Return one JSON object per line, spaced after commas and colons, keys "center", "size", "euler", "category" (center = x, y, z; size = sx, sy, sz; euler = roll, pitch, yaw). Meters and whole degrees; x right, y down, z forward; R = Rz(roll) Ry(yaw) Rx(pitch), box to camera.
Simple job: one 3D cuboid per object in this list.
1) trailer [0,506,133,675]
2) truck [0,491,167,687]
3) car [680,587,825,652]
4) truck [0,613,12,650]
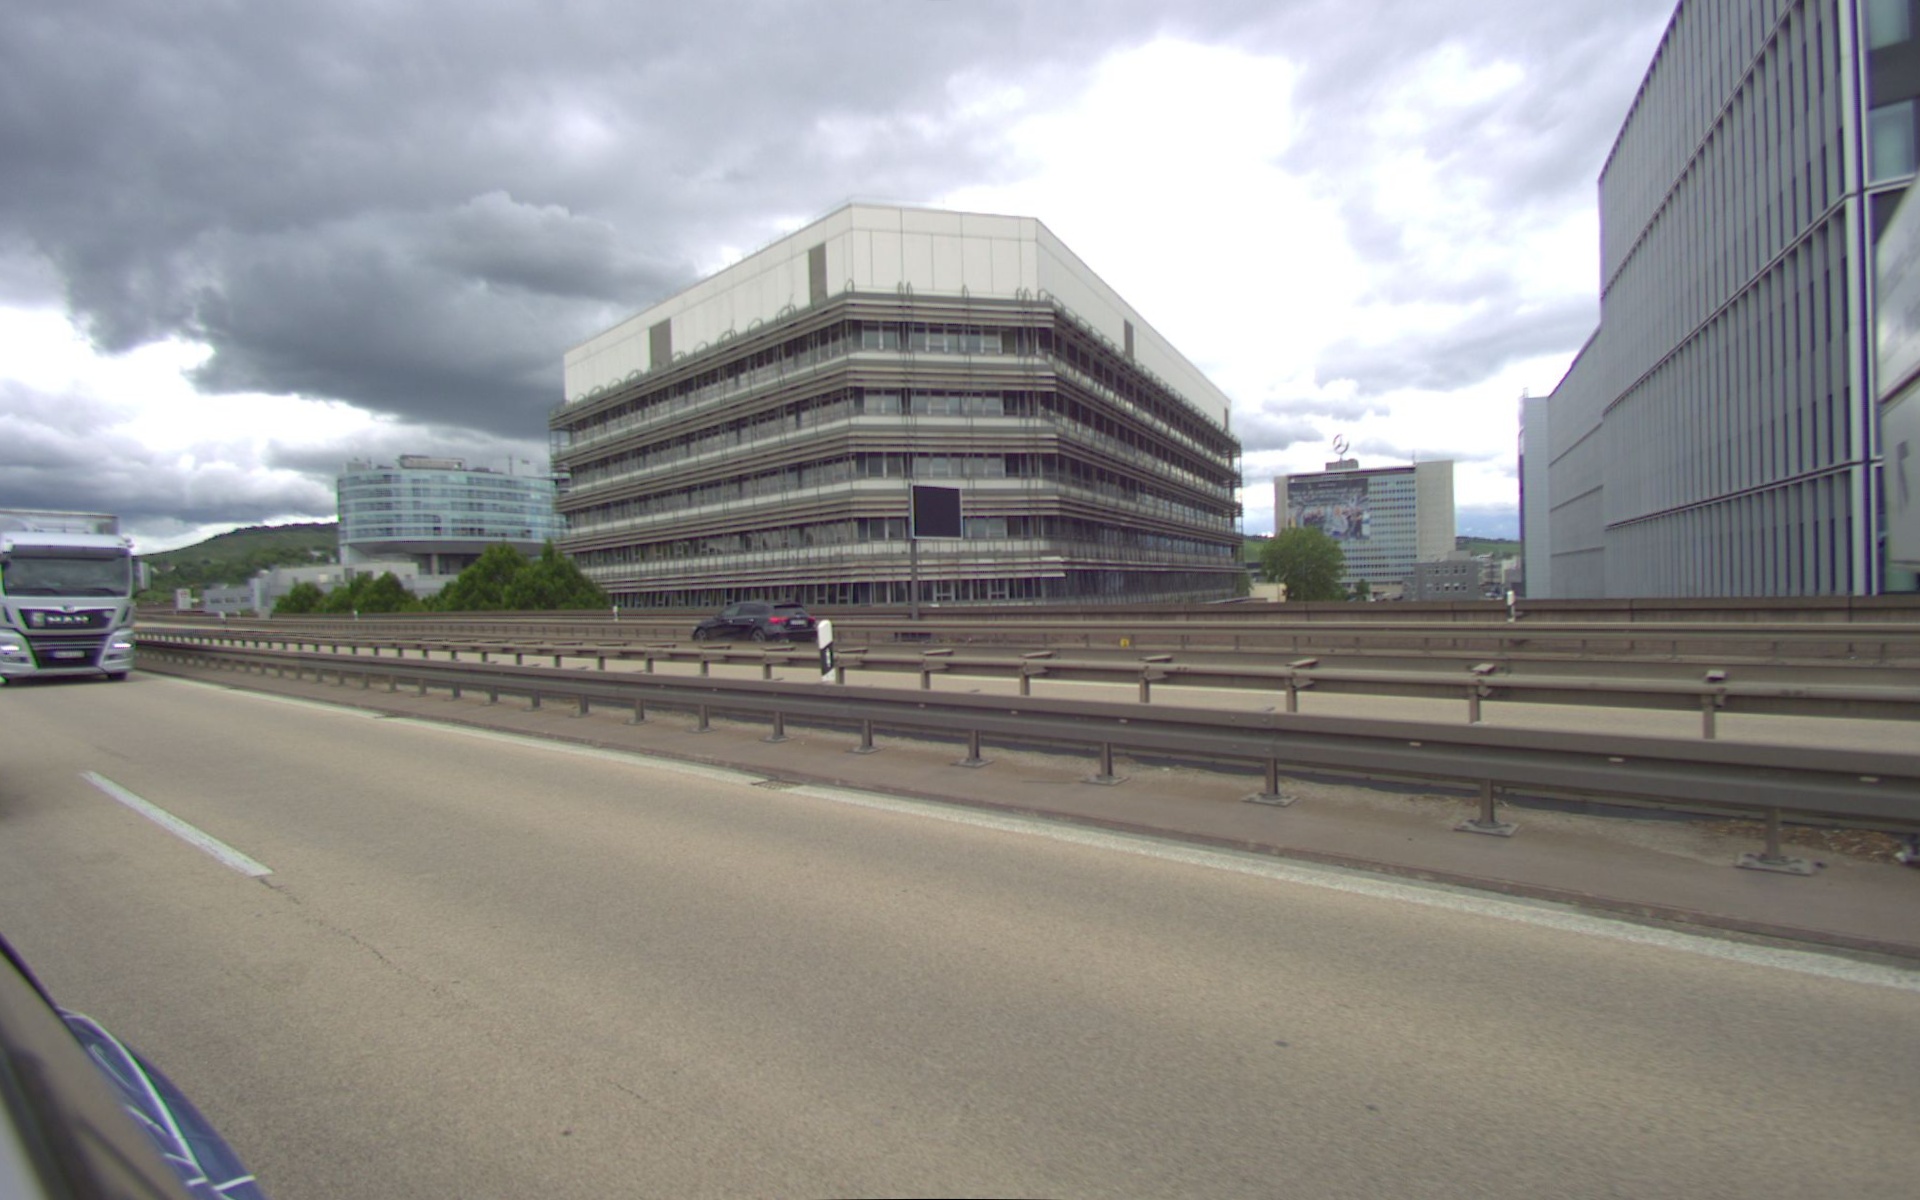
{"center": [-26.837, -0.247, 28.945], "size": [11.763, 4.056, 3.148], "euler": [0, 2, 42], "category": "trailer"}
{"center": [-21.316, -0.275, 23.893], "size": [5.688, 4.067, 3.101], "euler": [0, 2, 43], "category": "truck"}
{"center": [-5.901, 0.503, 28.532], "size": [4.356, 1.662, 1.666], "euler": [0, 1, 40], "category": "car"}
{"center": [-42.902, 1.387, 44.400], "size": [3.515, 1.541, 1.804], "euler": [0, 0, 45], "category": "truck"}
